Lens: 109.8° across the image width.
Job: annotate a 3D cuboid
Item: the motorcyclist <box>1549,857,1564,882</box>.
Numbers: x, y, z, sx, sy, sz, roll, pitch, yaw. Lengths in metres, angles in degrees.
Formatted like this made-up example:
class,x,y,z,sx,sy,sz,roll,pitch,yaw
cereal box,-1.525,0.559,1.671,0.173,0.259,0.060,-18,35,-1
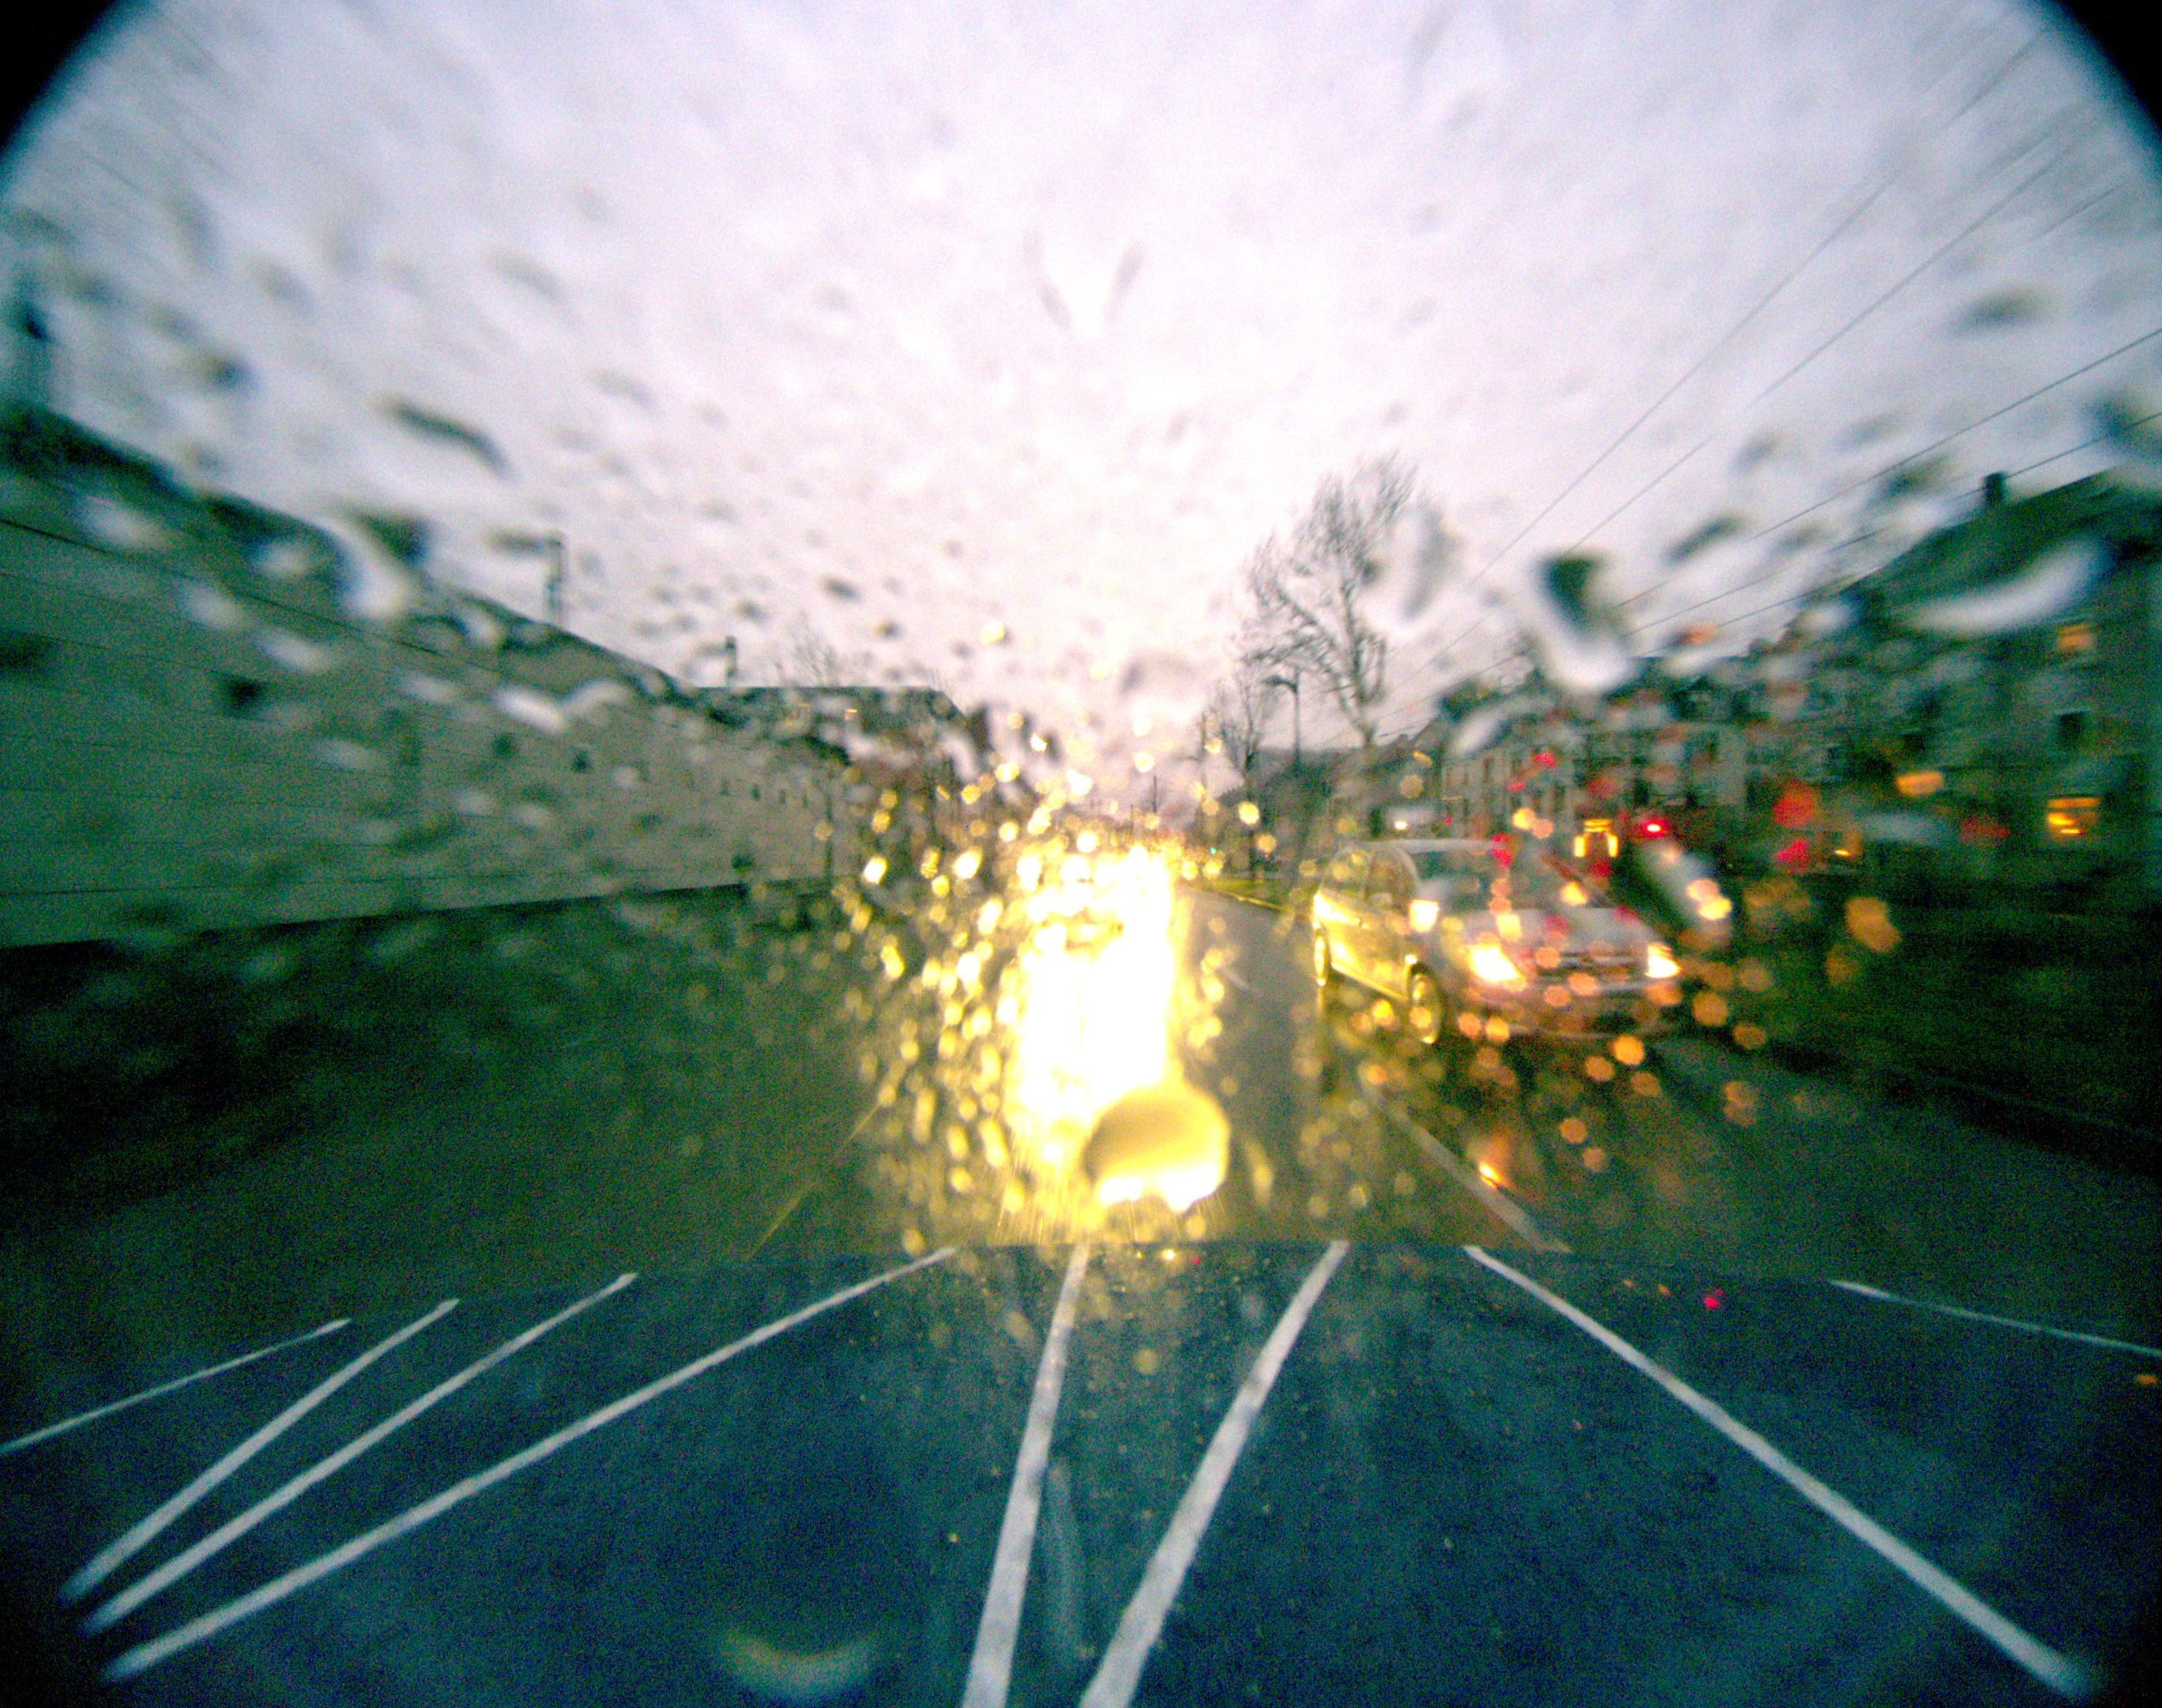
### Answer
class,x,y,z,sx,sy,sz,roll,pitch,yaw
motorcyclist,20.731,0.662,33.127,0.415,1.055,0.345,-2,1,7

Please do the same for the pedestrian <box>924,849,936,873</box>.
class,x,y,z,sx,sy,sz,roll,pitch,yaw
pedestrian,-10.531,0.458,53.030,0.674,1.639,0.769,2,1,0

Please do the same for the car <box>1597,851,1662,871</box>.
class,x,y,z,sx,sy,sz,roll,pitch,yaw
car,35.285,0.467,48.914,3.327,1.131,1.254,-2,1,0

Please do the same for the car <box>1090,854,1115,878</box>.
class,x,y,z,sx,sy,sz,roll,pitch,yaw
car,1.347,0.739,48.484,1.538,1.347,3.546,-2,1,1

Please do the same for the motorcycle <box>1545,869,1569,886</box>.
class,x,y,z,sx,sy,sz,roll,pitch,yaw
motorcycle,20.762,1.029,33.127,0.422,0.679,1.176,-2,1,7

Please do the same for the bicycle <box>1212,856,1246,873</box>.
class,x,y,z,sx,sy,sz,roll,pitch,yaw
bicycle,8.232,0.573,42.181,1.725,0.893,0.733,1,2,1

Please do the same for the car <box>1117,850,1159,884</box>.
class,x,y,z,sx,sy,sz,roll,pitch,yaw
car,2.763,0.587,37.116,1.905,1.475,3.656,-2,1,3

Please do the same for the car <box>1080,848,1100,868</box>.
class,x,y,z,sx,sy,sz,roll,pitch,yaw
car,0.830,0.360,71.327,1.802,1.674,3.805,-2,1,1

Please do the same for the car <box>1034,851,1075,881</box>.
class,x,y,z,sx,sy,sz,roll,pitch,yaw
car,-1.236,0.536,36.318,1.736,1.311,3.803,-2,1,1

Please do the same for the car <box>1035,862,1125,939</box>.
class,x,y,z,sx,sy,sz,roll,pitch,yaw
car,0.004,0.909,16.381,1.669,1.325,3.786,-2,1,1

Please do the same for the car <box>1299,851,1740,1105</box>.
class,x,y,z,sx,sy,sz,roll,pitch,yaw
car,3.308,0.774,6.710,1.638,1.511,3.907,-2,1,1

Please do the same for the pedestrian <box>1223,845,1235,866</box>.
class,x,y,z,sx,sy,sz,roll,pitch,yaw
pedestrian,8.199,0.084,42.139,0.563,1.150,0.582,-2,1,3

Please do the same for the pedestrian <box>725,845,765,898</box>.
class,x,y,z,sx,sy,sz,roll,pitch,yaw
pedestrian,-10.522,0.543,23.824,0.814,1.621,0.883,2,1,0

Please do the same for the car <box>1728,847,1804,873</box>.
class,x,y,z,sx,sy,sz,roll,pitch,yaw
car,47.864,0.408,53.153,3.591,1.685,1.731,-2,1,6
